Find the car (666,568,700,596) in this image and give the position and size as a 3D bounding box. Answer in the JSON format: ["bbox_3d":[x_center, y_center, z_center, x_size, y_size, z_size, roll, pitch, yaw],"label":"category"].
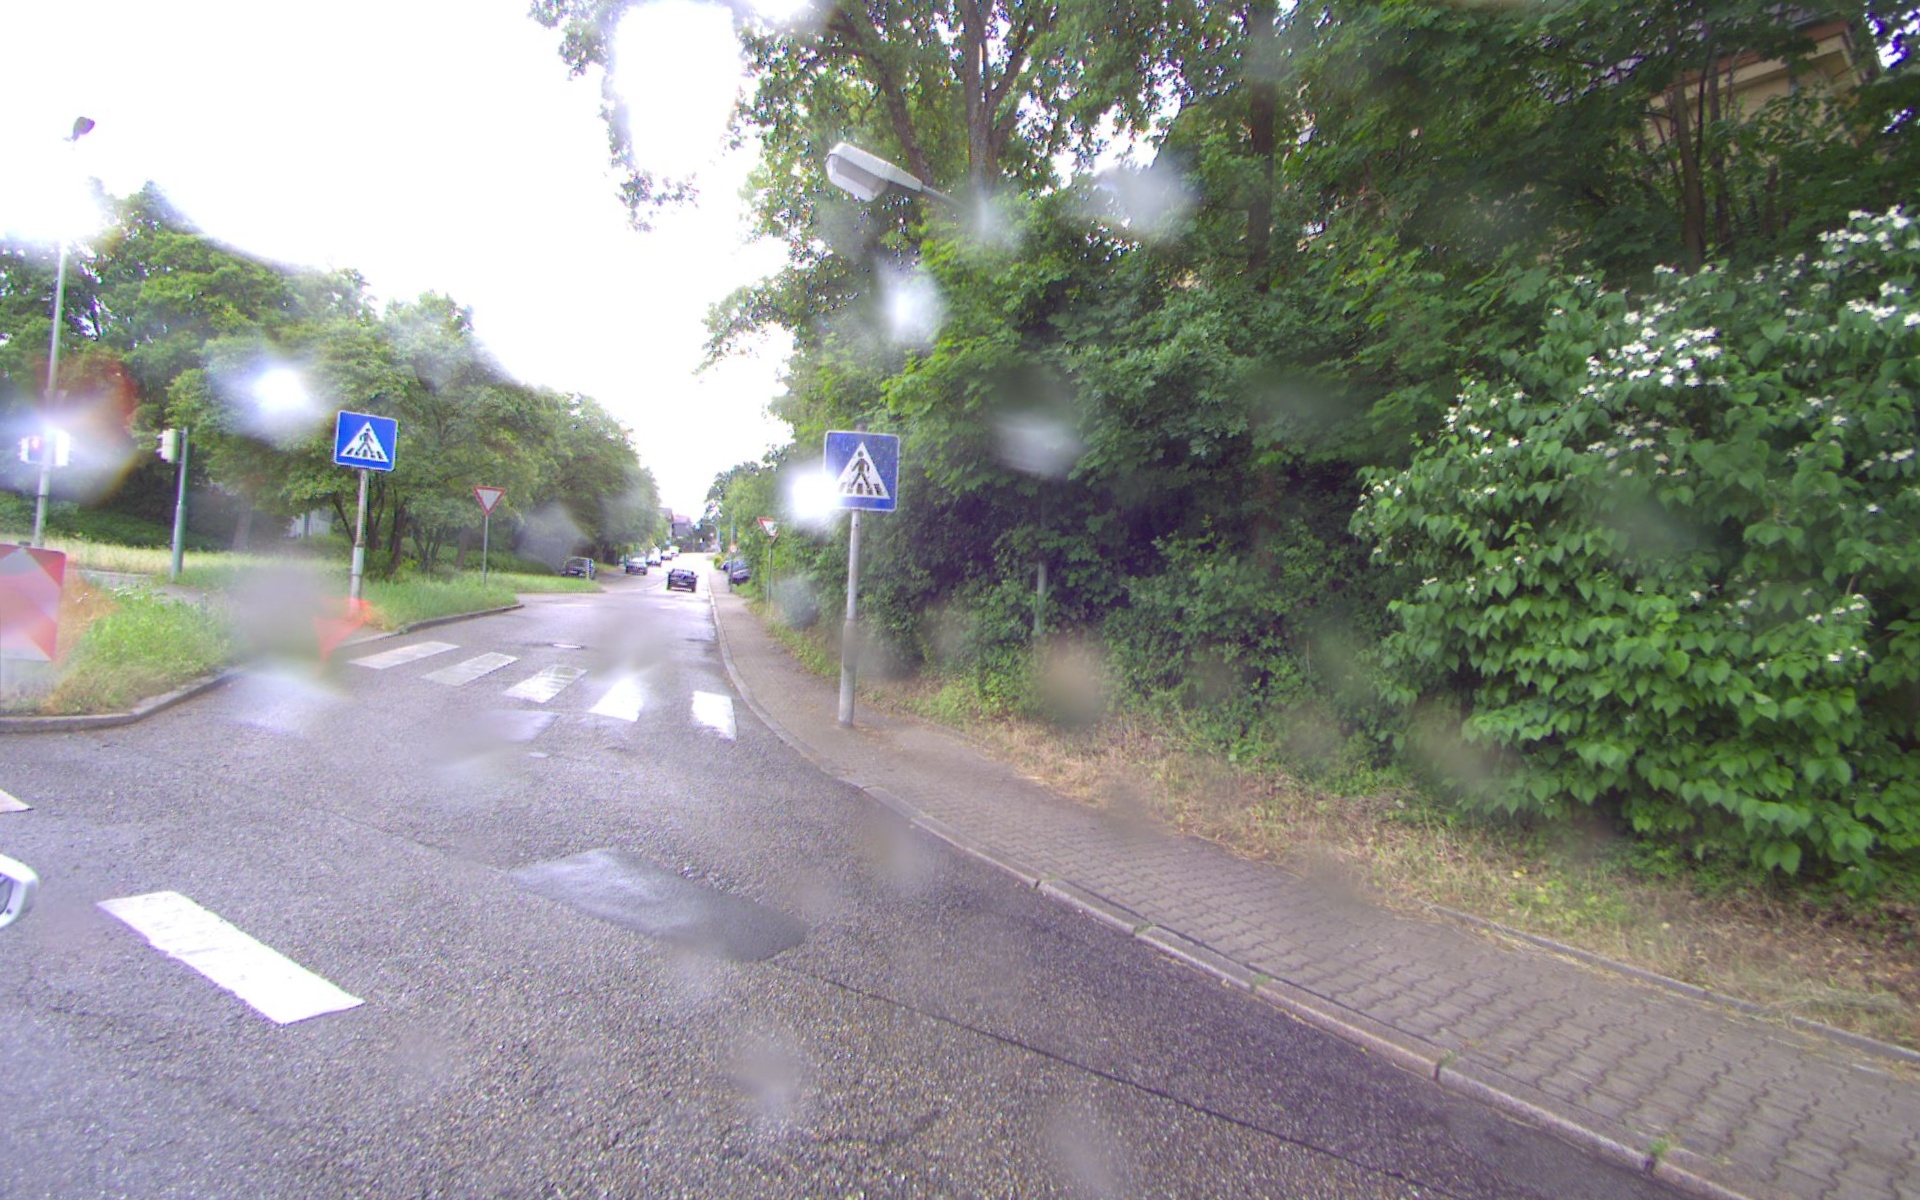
[{"bbox_3d":[-17.517,-1.182,63.808,1.789,1.461,4.148,6,1,-14],"label":"car"}]

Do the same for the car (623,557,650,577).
[{"bbox_3d":[-30.099,-3.048,93.722,1.874,1.467,4.285,7,-2,-13],"label":"car"}]

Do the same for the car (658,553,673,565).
[{"bbox_3d":[-46.764,-6.494,159.501,1.877,1.413,4.151,7,-2,-20],"label":"car"}]

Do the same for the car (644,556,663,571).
[{"bbox_3d":[-37.701,-4.463,123.637,1.968,1.463,4.278,7,-2,-19],"label":"car"}]

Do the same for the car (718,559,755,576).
[{"bbox_3d":[-25.763,-3.722,116.084,3.939,1.594,1.766,5,1,-18],"label":"car"}]

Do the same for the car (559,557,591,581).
[{"bbox_3d":[-25.883,-2.099,67.727,1.651,1.387,3.477,6,0,-16],"label":"car"}]
